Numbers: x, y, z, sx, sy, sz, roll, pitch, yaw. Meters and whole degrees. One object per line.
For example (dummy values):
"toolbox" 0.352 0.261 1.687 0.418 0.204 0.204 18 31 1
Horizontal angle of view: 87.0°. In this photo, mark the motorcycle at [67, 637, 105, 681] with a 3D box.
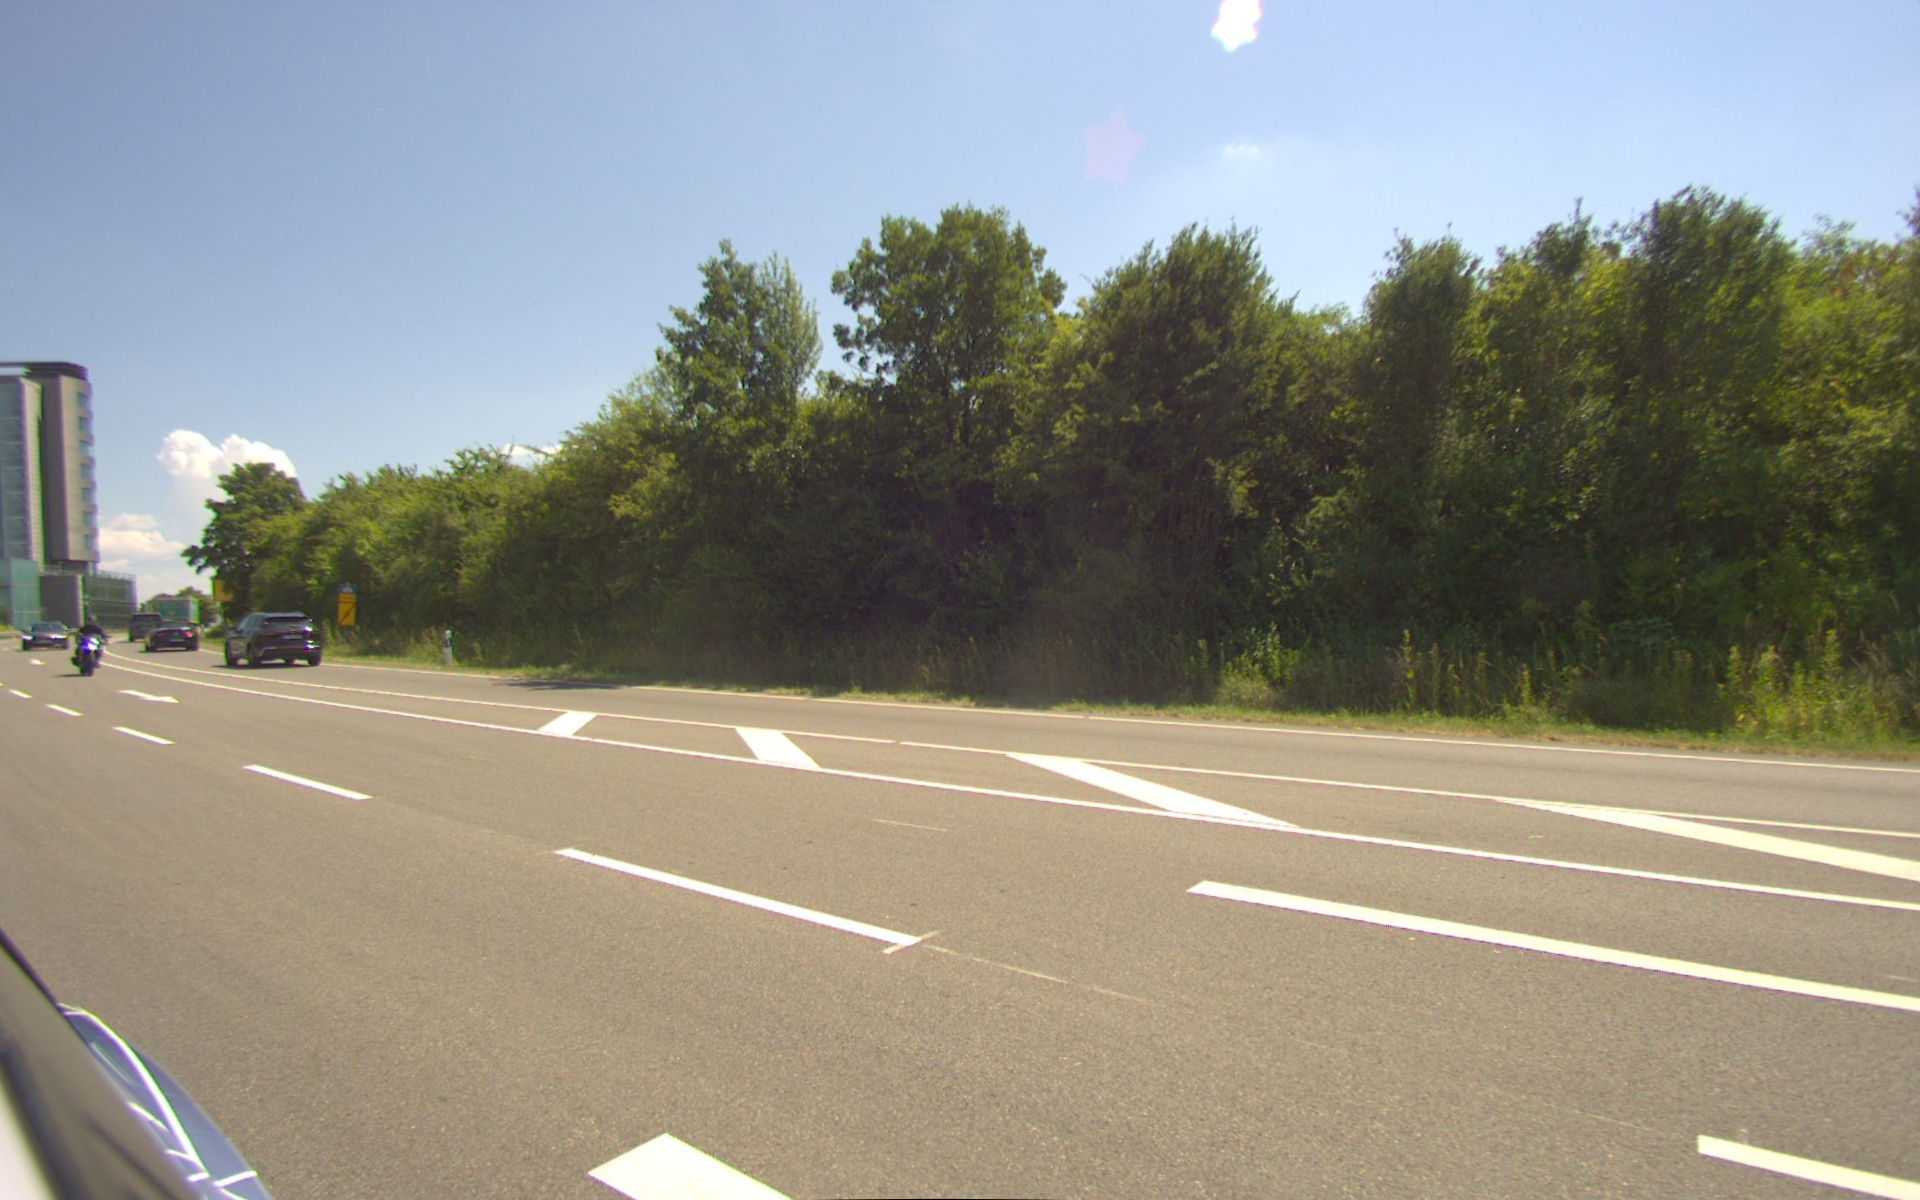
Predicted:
"motorcycle" -23.871 1.602 27.636 0.723 1.147 2.075 1 -2 -42

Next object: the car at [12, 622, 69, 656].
"car" -47.727 1.986 52.615 2.086 1.603 4.456 -1 0 -41

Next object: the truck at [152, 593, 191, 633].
"truck" -75.022 1.288 96.297 2.832 3.601 9.449 0 -1 -38

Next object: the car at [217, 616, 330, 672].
"car" -21.449 1.327 31.548 4.683 1.605 1.971 -1 -1 44

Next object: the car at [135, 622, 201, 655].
"car" -36.926 1.765 47.136 4.645 1.453 1.796 -2 -1 44

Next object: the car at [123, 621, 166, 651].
"car" -55.251 2.387 68.500 1.969 1.909 5.110 0 -1 -42

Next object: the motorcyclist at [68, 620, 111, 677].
"motorcyclist" -23.875 1.317 27.747 0.848 1.500 1.163 1 -2 -43
